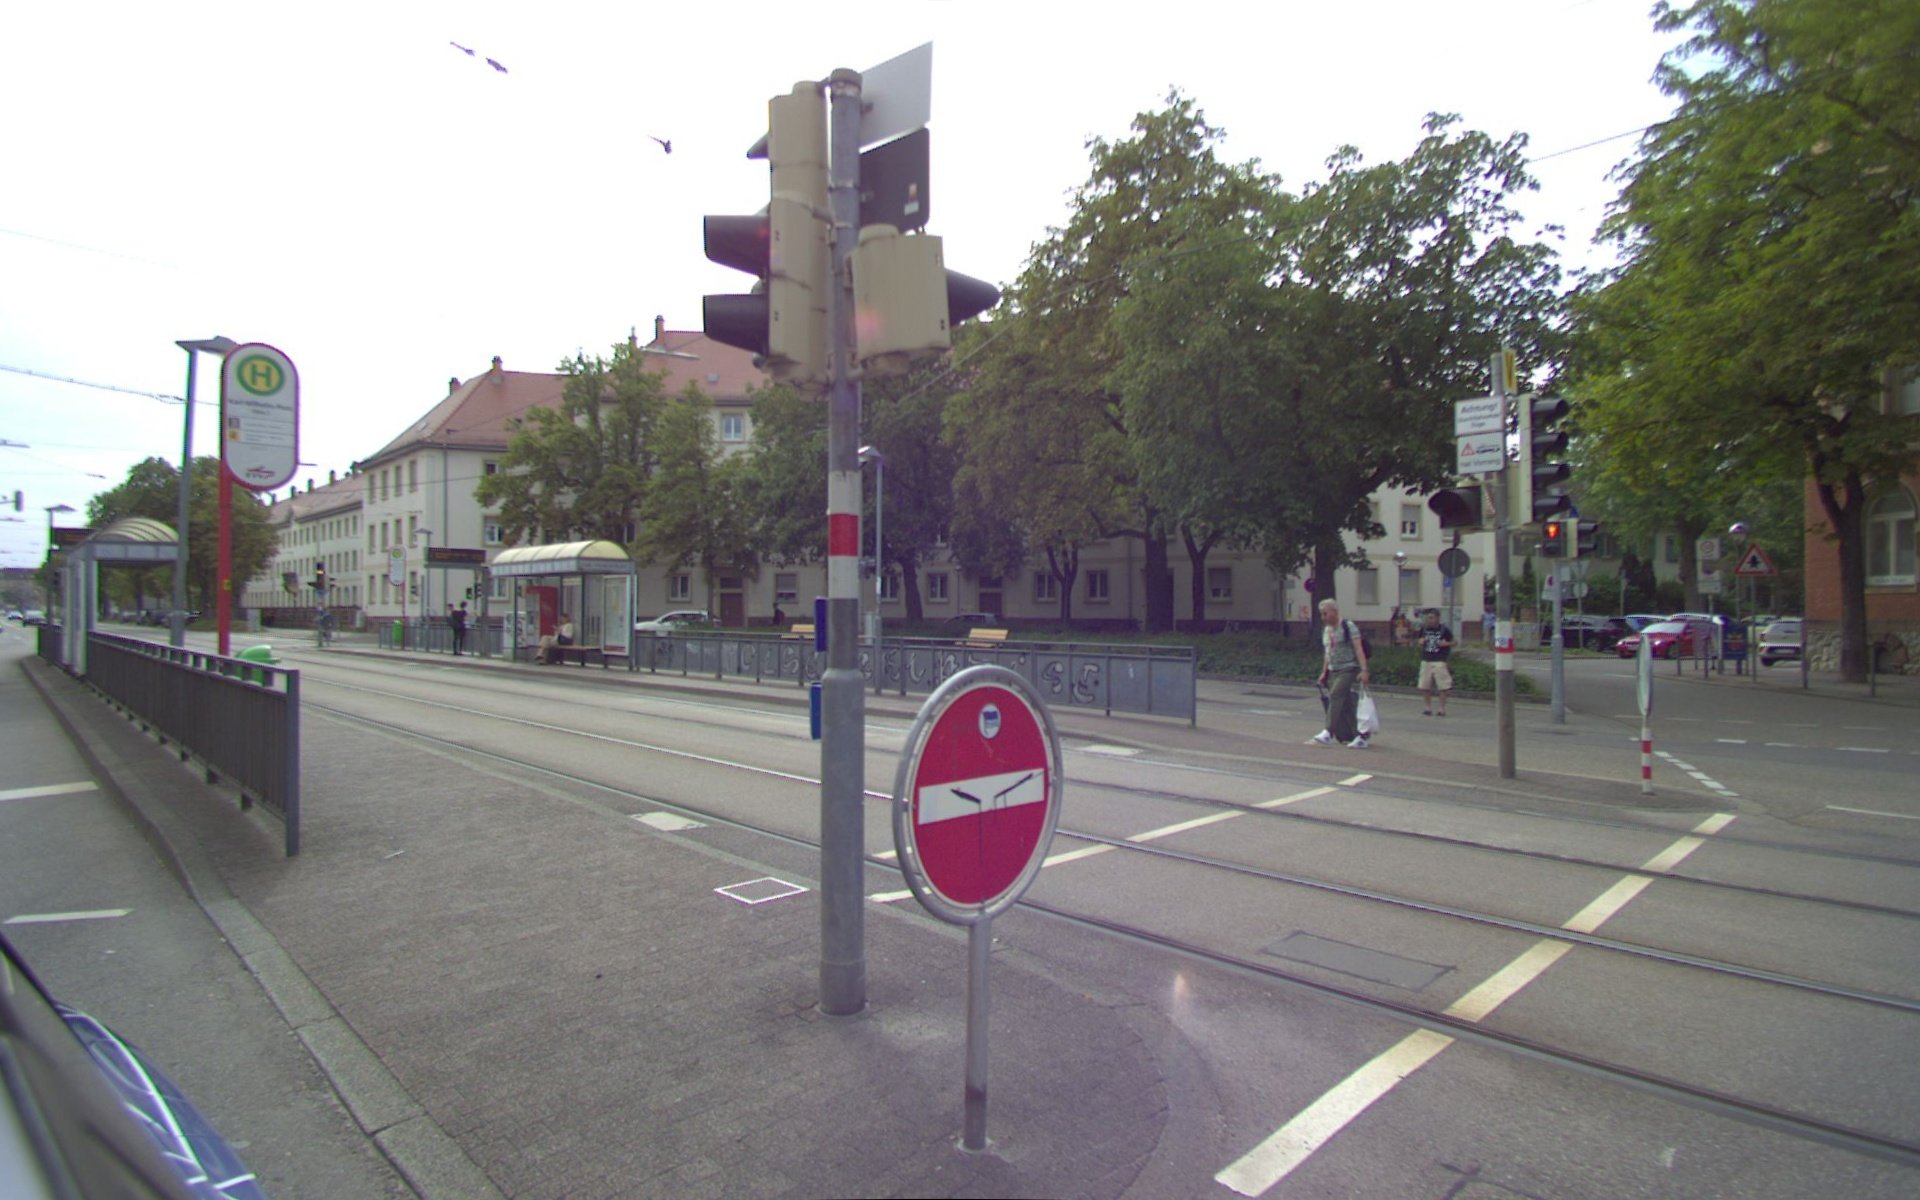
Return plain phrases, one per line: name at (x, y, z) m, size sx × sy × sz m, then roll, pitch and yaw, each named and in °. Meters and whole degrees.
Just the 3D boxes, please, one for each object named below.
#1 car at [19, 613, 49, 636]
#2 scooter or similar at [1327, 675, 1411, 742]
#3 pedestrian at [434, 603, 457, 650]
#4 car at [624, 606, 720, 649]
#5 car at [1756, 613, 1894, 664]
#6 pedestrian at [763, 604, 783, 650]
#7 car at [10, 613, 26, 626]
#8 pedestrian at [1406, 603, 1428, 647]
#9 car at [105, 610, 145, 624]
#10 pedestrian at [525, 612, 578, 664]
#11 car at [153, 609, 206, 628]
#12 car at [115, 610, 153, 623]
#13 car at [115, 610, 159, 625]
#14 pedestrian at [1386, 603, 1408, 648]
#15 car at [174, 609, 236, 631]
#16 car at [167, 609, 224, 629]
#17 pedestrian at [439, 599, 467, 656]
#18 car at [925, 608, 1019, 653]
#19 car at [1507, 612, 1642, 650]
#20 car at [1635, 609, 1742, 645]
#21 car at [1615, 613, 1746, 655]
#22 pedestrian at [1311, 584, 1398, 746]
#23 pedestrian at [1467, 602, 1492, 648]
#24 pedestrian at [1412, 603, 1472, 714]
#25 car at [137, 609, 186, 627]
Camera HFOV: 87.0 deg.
car at (-85.307, 2.239, 93.206) m, size 1.970 × 2.029 × 4.004 m, roll -1°, pitch 0°, yaw -43°
scooter or similar at (4.678, 1.234, 11.587) m, size 0.659 × 0.718 × 0.605 m, roll 2°, pitch -3°, yaw -14°
pedestrian at (-20.348, 1.033, 39.995) m, size 0.463 × 1.848 × 0.651 m, roll -1°, pitch 0°, yaw 32°
car at (-13.370, 1.246, 47.270) m, size 4.131 × 1.879 × 1.857 m, roll -1°, pitch 0°, yaw -10°
car at (26.547, 1.135, 31.049) m, size 3.930 × 1.484 × 1.709 m, roll 0°, pitch -1°, yaw -24°
pedestrian at (-8.435, 1.206, 45.747) m, size 0.850 × 2.029 × 0.766 m, roll -1°, pitch 0°, yaw -10°
car at (-154.119, 3.129, 165.600) m, size 1.970 × 2.029 × 4.004 m, roll -1°, pitch 0°, yaw -43°
pedestrian at (18.968, 1.030, 42.038) m, size 0.543 × 1.840 × 0.590 m, roll -1°, pitch 0°, yaw -25°
car at (-108.798, 2.212, 131.935) m, size 3.939 × 1.739 × 1.879 m, roll -1°, pitch 0°, yaw -42°
pedestrian at (-10.212, 0.938, 25.281) m, size 0.724 × 1.246 × 1.019 m, roll -1°, pitch 0°, yaw 44°
car at (-75.920, 1.786, 98.483) m, size 3.939 × 1.739 × 1.879 m, roll -1°, pitch 0°, yaw -42°
car at (-112.950, 2.265, 138.466) m, size 3.939 × 1.739 × 1.879 m, roll -1°, pitch 0°, yaw -42°
car at (-97.101, 2.061, 119.401) m, size 3.939 × 1.739 × 1.879 m, roll -1°, pitch 0°, yaw -42°
pedestrian at (18.003, 1.042, 41.687) m, size 0.543 × 1.840 × 0.590 m, roll -1°, pitch 0°, yaw -25°
car at (-62.635, 1.615, 83.964) m, size 3.939 × 1.739 × 1.879 m, roll -1°, pitch 0°, yaw -42°
car at (-68.779, 1.694, 91.024) m, size 3.939 × 1.739 × 1.879 m, roll -1°, pitch 0°, yaw -42°
pedestrian at (-15.595, 0.838, 31.117) m, size 0.619 × 1.716 × 0.580 m, roll -1°, pitch 0°, yaw 42°
car at (0.513, 1.320, 44.295) m, size 3.746 × 1.879 × 1.833 m, roll -1°, pitch 0°, yaw 33°
car at (24.496, 1.212, 40.516) m, size 1.877 × 1.415 × 4.326 m, roll 0°, pitch -1°, yaw -23°
car at (30.479, 1.115, 42.347) m, size 3.931 × 1.415 × 1.709 m, roll 0°, pitch -1°, yaw -21°
car at (25.605, 1.184, 35.992) m, size 4.237 × 1.415 × 1.709 m, roll 0°, pitch -1°, yaw -21°
pedestrian at (4.351, 0.707, 11.149) m, size 0.684 × 1.703 × 0.804 m, roll -1°, pitch -4°, yaw 39°
pedestrian at (20.979, 1.003, 40.884) m, size 0.827 × 1.840 × 0.660 m, roll -1°, pitch 0°, yaw 26°
pedestrian at (7.630, 0.900, 16.027) m, size 0.712 × 1.703 × 0.646 m, roll -1°, pitch -1°, yaw 42°
car at (-83.446, 1.884, 105.801) m, size 3.939 × 1.739 × 1.879 m, roll -1°, pitch 0°, yaw -42°
